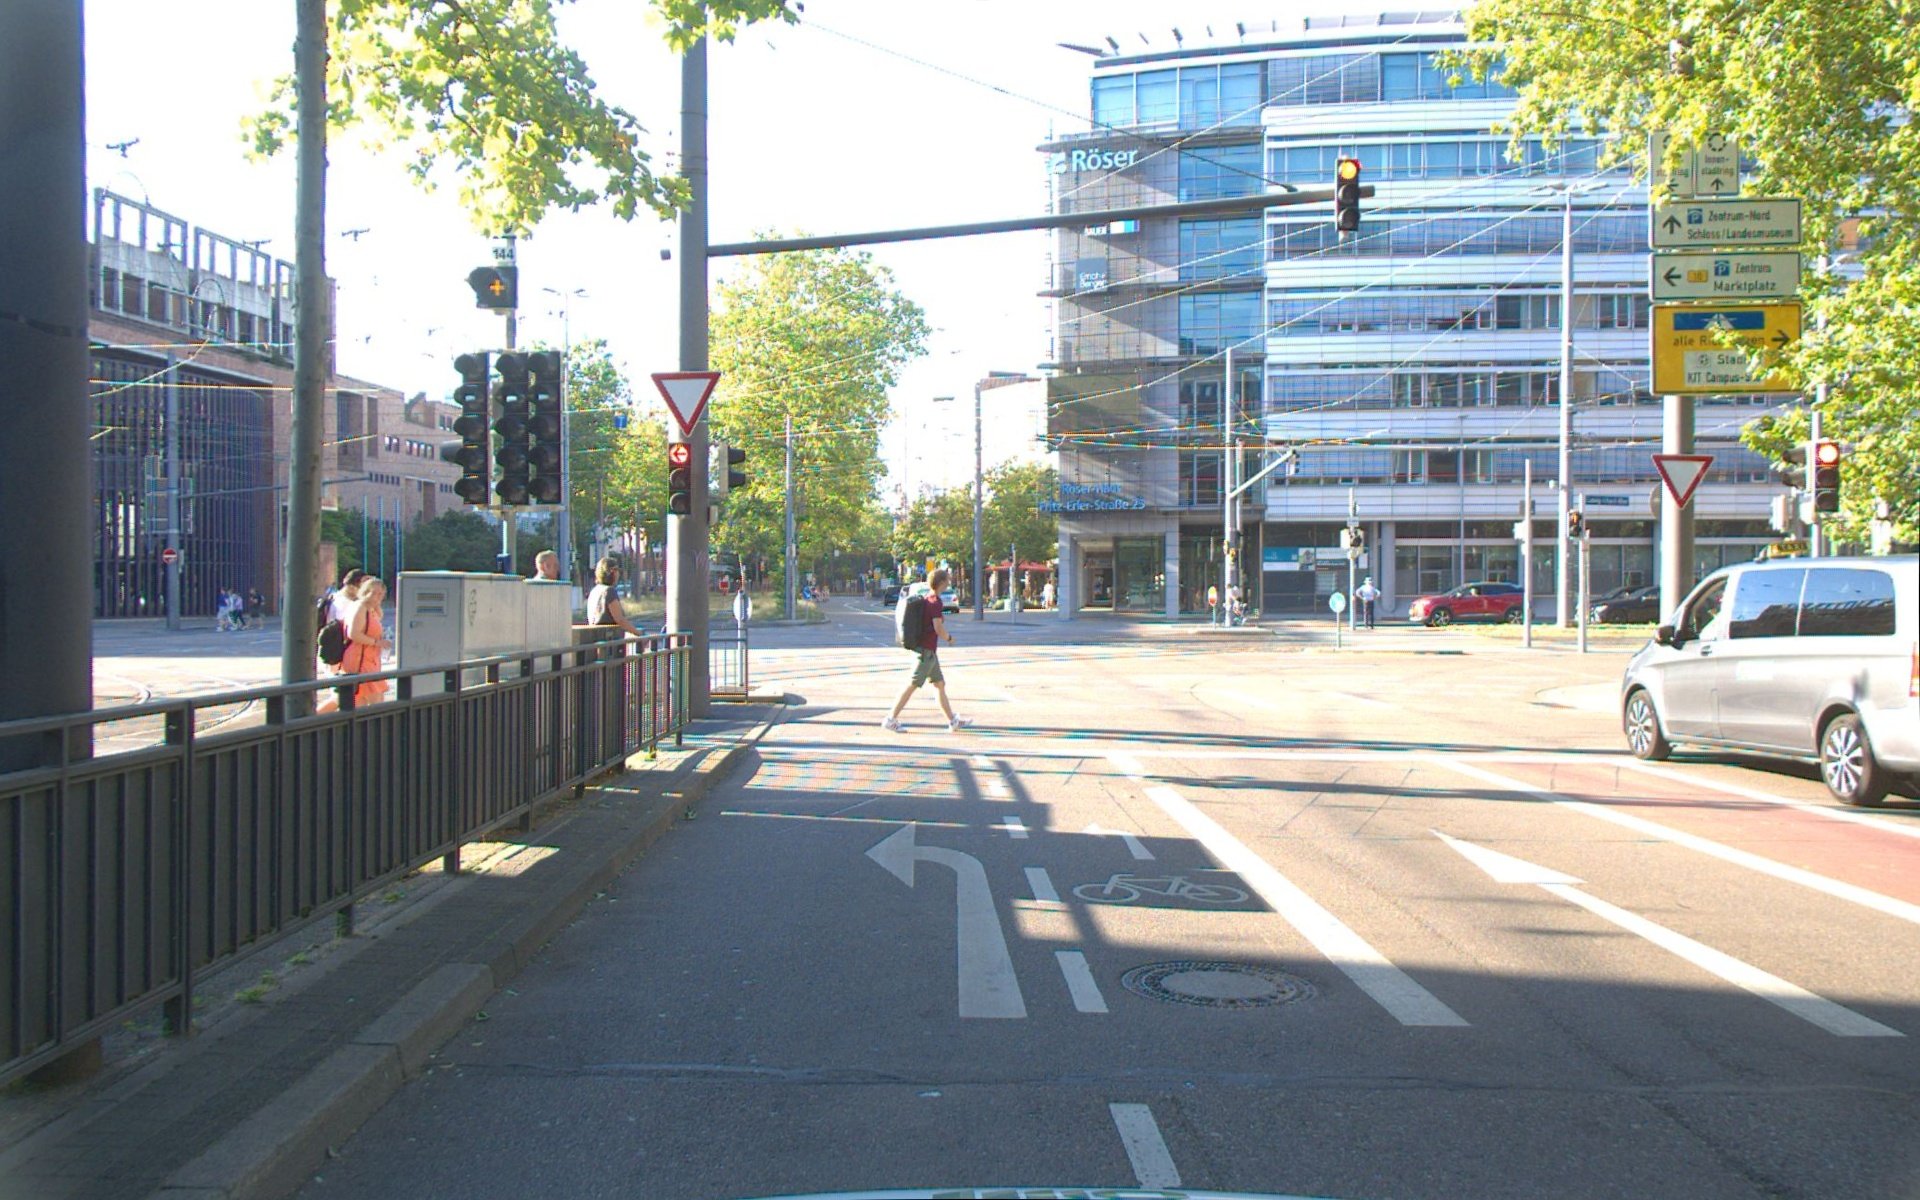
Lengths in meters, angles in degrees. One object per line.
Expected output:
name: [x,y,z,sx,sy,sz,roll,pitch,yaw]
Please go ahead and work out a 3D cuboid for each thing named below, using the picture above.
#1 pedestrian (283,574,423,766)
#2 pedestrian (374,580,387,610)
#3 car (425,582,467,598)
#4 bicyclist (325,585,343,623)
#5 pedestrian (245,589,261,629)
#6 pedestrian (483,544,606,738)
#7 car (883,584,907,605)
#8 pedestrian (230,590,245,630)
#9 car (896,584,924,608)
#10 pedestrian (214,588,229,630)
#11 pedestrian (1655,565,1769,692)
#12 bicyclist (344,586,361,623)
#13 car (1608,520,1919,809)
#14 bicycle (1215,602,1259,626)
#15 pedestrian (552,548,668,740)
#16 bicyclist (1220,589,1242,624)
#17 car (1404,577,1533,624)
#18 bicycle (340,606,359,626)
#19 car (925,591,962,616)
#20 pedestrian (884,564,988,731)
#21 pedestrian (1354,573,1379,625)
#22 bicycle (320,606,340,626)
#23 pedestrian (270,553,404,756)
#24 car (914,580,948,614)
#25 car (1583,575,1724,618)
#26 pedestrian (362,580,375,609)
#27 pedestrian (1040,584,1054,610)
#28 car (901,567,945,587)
pedestrian: [-5.555,0.628,15.194,1.053,1.711,0.756,1,0,-10]
pedestrian: [-36.008,-0.332,102.773,0.628,1.842,0.546,-1,0,5]
car: [-54.994,-1.047,176.952,3.951,1.579,1.588,1,0,-34]
bicyclist: [-28.873,0.178,76.304,0.582,1.705,0.788,-1,0,-8]
pedestrian: [-29.383,0.370,68.744,0.529,1.679,0.622,-1,0,-21]
pedestrian: [-4.247,0.415,16.984,1.124,1.927,0.831,1,0,-10]
car: [-5.472,-0.443,138.444,1.953,1.691,3.998,-1,0,-2]
pedestrian: [-30.520,0.414,69.901,0.529,1.679,0.622,-1,0,-21]
car: [-3.534,-0.294,116.786,1.953,1.691,3.998,-1,0,-2]
pedestrian: [-30.242,0.362,67.745,0.529,1.679,0.622,-1,0,-21]
pedestrian: [11.374,0.422,25.058,1.186,1.854,1.040,1,0,-8]
bicyclist: [-28.137,0.196,76.591,0.582,1.705,0.788,-1,0,-8]
car: [7.547,0.445,13.978,1.953,2.000,5.135,1,0,-2]
bicycle: [10.989,0.543,65.595,1.705,0.915,0.409,-1,0,3]
pedestrian: [-3.422,0.428,16.261,1.052,1.837,0.756,1,0,-10]
bicyclist: [10.742,0.247,65.610,0.802,1.390,0.400,-1,0,3]
car: [18.455,-0.002,60.150,4.152,1.630,1.796,-1,0,3]
bicycle: [-28.235,0.717,76.529,0.503,0.897,1.835,-1,0,-10]
car: [-0.974,0.176,94.559,1.953,1.355,3.998,-1,0,-2]
pedestrian: [-0.270,0.505,17.774,1.052,1.745,0.627,1,0,-6]
pedestrian: [13.549,-0.046,55.176,0.704,1.711,0.557,1,0,5]
bicycle: [-29.021,0.747,76.190,0.503,0.897,1.835,-1,0,-10]
pedestrian: [-5.996,0.515,15.979,1.053,1.904,0.737,1,0,-10]
car: [-1.791,-0.179,101.540,1.953,2.026,3.998,-1,0,-2]
car: [23.901,-0.121,57.100,4.152,1.417,1.796,-1,0,2]
pedestrian: [-36.222,-0.342,101.279,0.511,1.810,0.546,-1,0,5]
pedestrian: [5.003,-0.178,94.878,0.724,1.491,0.536,-1,0,-4]
car: [-3.423,-2.138,152.535,3.681,1.780,1.783,1,0,12]
